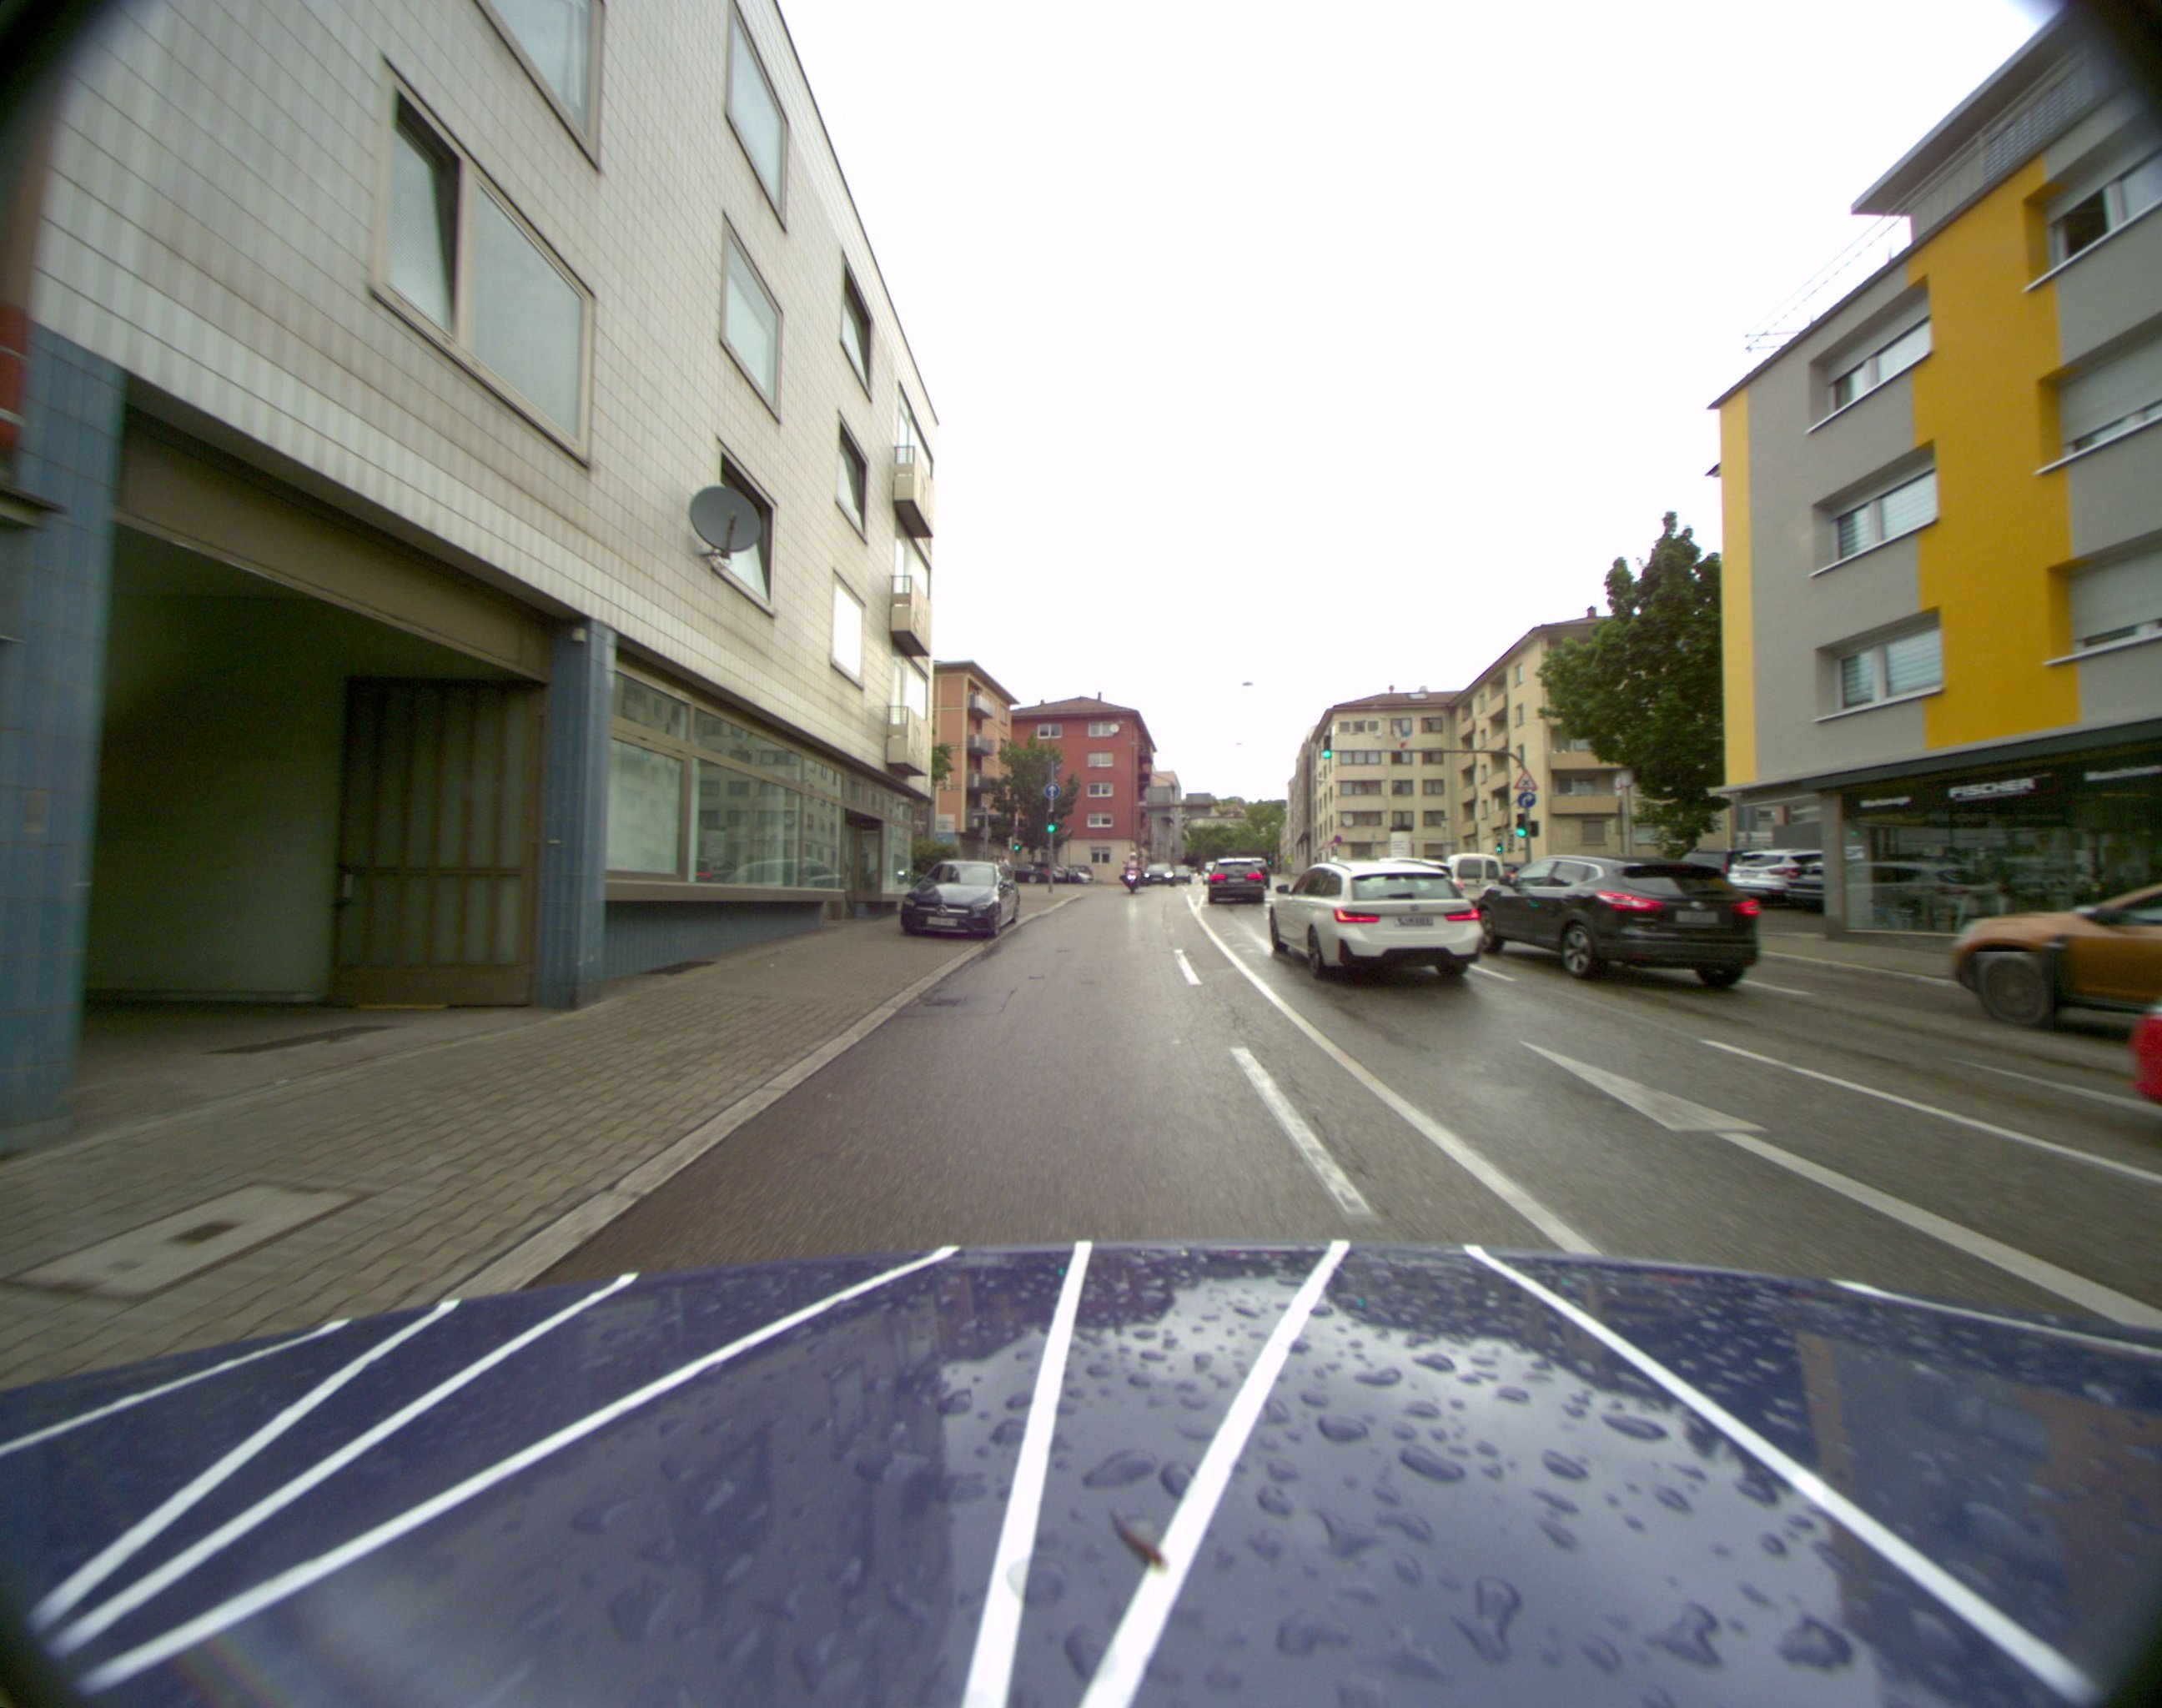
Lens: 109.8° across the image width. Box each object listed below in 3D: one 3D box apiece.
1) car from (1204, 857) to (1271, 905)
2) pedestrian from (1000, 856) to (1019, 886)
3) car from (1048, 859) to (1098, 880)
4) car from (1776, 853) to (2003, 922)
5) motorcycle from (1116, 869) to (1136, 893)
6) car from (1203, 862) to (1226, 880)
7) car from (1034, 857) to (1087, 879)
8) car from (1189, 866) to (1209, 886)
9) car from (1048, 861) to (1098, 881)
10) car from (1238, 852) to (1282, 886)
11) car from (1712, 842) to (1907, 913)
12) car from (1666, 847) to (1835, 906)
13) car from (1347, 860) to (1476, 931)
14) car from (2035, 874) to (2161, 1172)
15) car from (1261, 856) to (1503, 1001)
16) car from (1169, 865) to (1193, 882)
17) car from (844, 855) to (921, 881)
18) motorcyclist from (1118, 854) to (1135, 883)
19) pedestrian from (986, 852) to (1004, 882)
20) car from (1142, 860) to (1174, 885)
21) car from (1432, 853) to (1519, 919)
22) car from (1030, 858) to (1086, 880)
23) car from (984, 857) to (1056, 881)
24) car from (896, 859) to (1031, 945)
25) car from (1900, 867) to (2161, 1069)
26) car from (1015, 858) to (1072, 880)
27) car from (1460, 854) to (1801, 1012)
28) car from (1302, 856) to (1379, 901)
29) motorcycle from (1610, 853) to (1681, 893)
[{"bbox_3d":[5.118,0.828,25.348,1.810,1.406,4.380,0,1,7],"label":"car"},{"bbox_3d":[-3.997,0.955,42.314,0.760,1.636,0.709,5,-4,-24],"label":"pedestrian"},{"bbox_3d":[-0.703,1.395,67.888,3.991,1.694,2.005,-2,-4,23],"label":"car"},{"bbox_3d":[20.564,0.813,19.446,3.998,1.488,1.860,-2,2,-4],"label":"car"},{"bbox_3d":[1.870,1.093,31.737,0.637,0.921,2.364,-2,0,-1],"label":"motorcycle"},{"bbox_3d":[11.532,1.473,65.422,1.838,1.545,4.005,-1,-2,12],"label":"car"},{"bbox_3d":[-1.685,1.176,62.935,3.991,1.687,1.804,-1,-3,18],"label":"car"},{"bbox_3d":[11.666,2.196,75.049,1.792,1.716,4.006,-1,-4,10],"label":"car"},{"bbox_3d":[-0.723,1.473,65.141,3.990,1.571,1.679,-3,-5,29],"label":"car"},{"bbox_3d":[9.035,0.713,38.632,1.822,1.528,4.381,0,1,8],"label":"car"},{"bbox_3d":[20.920,0.638,21.904,3.999,1.783,1.860,-2,0,-6],"label":"car"},{"bbox_3d":[21.338,0.662,24.270,4.348,1.718,1.771,-1,2,-12],"label":"car"},{"bbox_3d":[7.924,0.944,18.645,1.810,1.533,4.383,0,-1,8],"label":"car"},{"bbox_3d":[6.362,0.914,2.309,1.744,1.507,4.131,2,1,2],"label":"car"},{"bbox_3d":[3.795,0.810,10.535,1.810,1.512,4.562,0,1,4],"label":"car"},{"bbox_3d":[9.092,1.776,69.046,1.838,1.545,4.005,-1,-2,12],"label":"car"},{"bbox_3d":[-11.729,0.825,45.026,3.993,1.480,1.852,0,-1,12],"label":"car"},{"bbox_3d":[1.889,0.611,31.694,0.654,1.216,0.658,0,0,-3],"label":"motorcyclist"},{"bbox_3d":[-4.820,0.743,42.552,0.711,1.636,0.758,4,-4,-21],"label":"pedestrian"},{"bbox_3d":[4.649,1.128,46.070,1.874,1.433,4.003,-1,-1,5],"label":"car"},{"bbox_3d":[12.863,0.980,25.011,1.729,1.819,4.066,5,1,18],"label":"car"},{"bbox_3d":[-1.848,1.191,60.442,3.990,1.709,1.997,-1,-1,23],"label":"car"},{"bbox_3d":[-4.371,1.086,54.936,4.786,1.545,1.852,1,-1,13],"label":"car"},{"bbox_3d":[-2.245,0.873,15.712,1.767,1.384,4.380,2,1,4],"label":"car"},{"bbox_3d":[9.668,0.984,6.207,1.660,1.601,3.928,2,1,1],"label":"car"},{"bbox_3d":[-2.834,1.136,57.763,3.994,1.650,1.995,0,-2,8],"label":"car"},{"bbox_3d":[7.094,0.860,10.515,1.810,1.622,4.344,3,1,5],"label":"car"},{"bbox_3d":[9.220,0.869,27.333,1.822,1.469,4.383,0,-1,8],"label":"car"},{"bbox_3d":[19.513,0.654,26.269,1.991,1.321,0.540,-1,-1,2],"label":"motorcycle"}]
